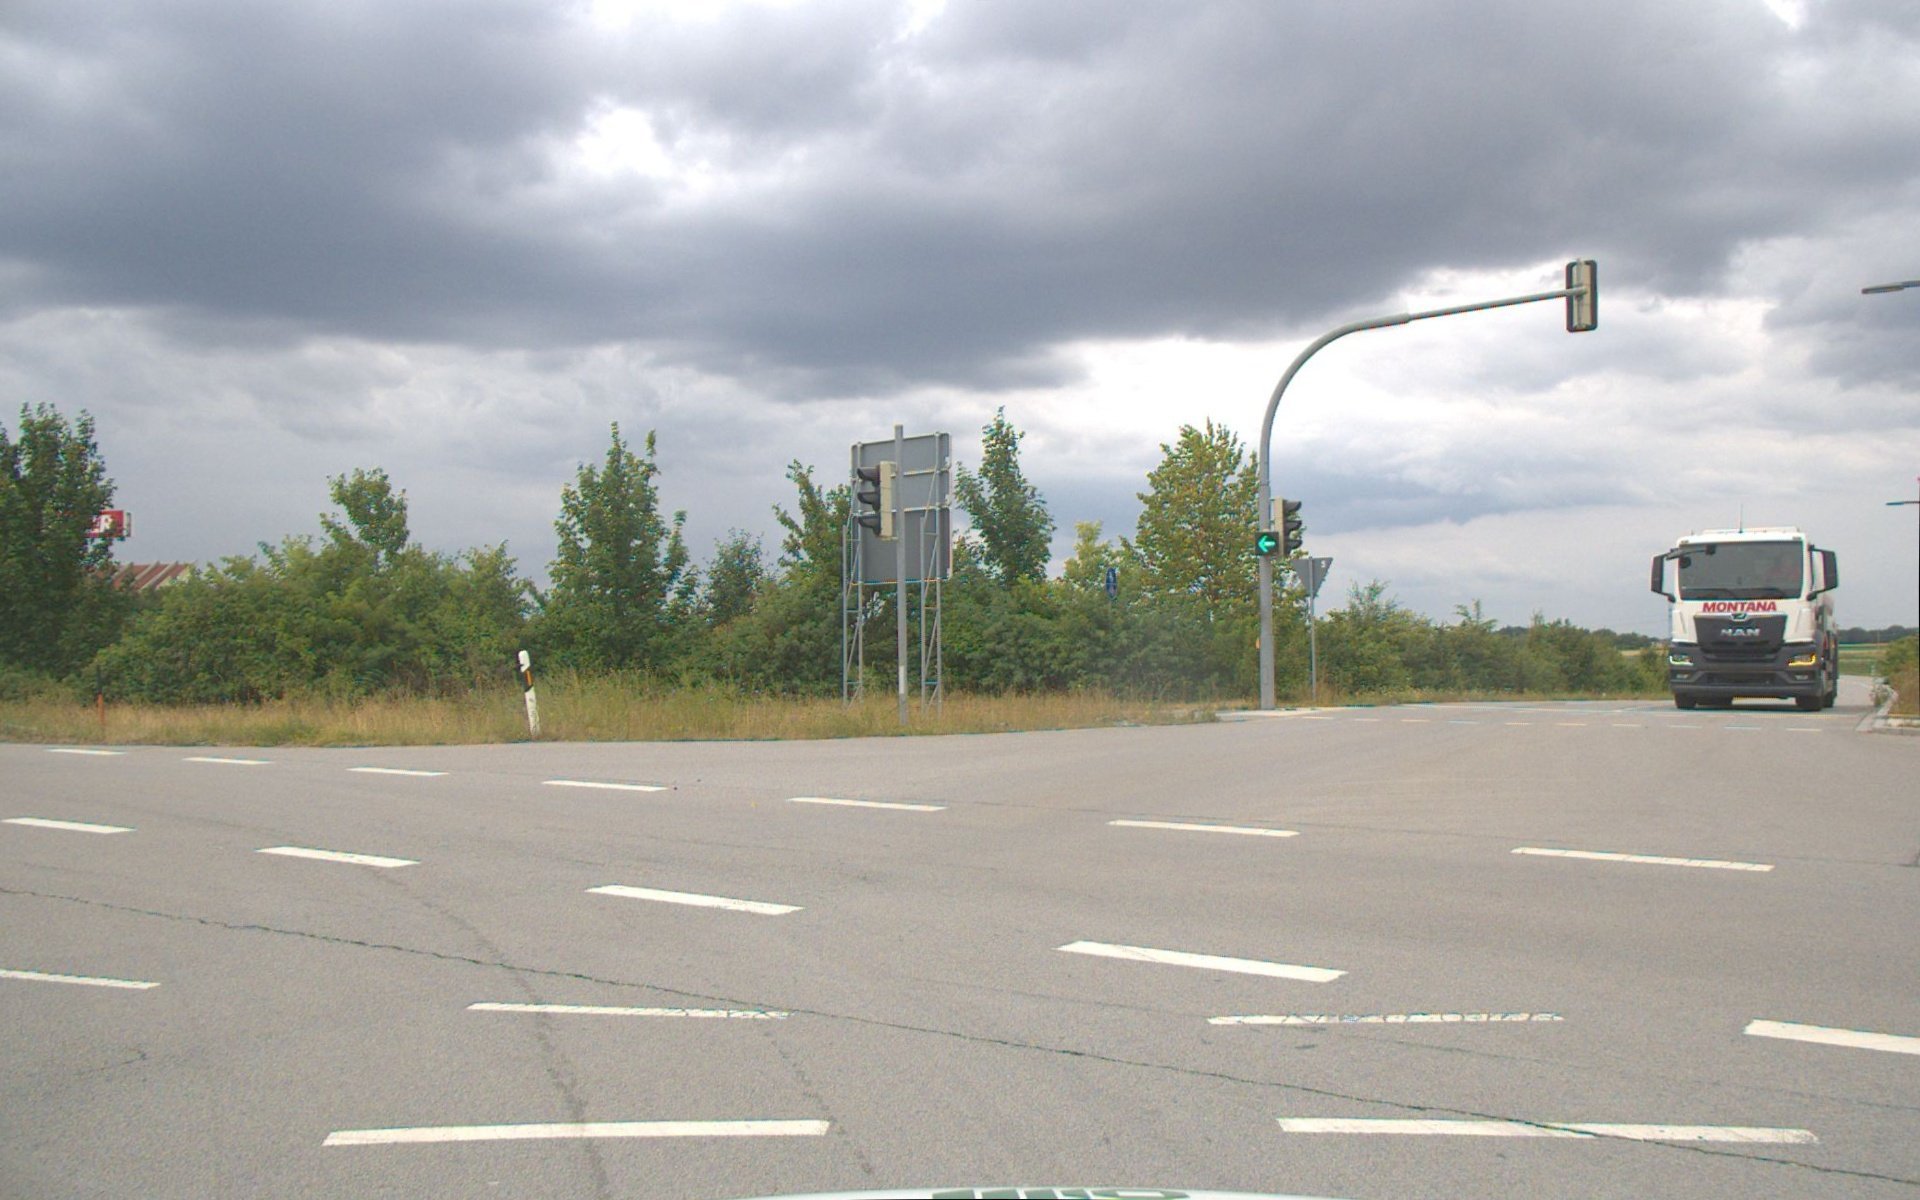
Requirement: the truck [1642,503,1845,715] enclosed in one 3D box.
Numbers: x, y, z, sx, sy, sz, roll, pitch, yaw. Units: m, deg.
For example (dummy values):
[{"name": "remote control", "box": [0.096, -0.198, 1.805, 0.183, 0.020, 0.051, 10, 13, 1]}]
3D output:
[{"name": "truck", "box": [15.109, 0.319, 31.502, 2.815, 3.468, 8.634, -2, -3, 29]}]
